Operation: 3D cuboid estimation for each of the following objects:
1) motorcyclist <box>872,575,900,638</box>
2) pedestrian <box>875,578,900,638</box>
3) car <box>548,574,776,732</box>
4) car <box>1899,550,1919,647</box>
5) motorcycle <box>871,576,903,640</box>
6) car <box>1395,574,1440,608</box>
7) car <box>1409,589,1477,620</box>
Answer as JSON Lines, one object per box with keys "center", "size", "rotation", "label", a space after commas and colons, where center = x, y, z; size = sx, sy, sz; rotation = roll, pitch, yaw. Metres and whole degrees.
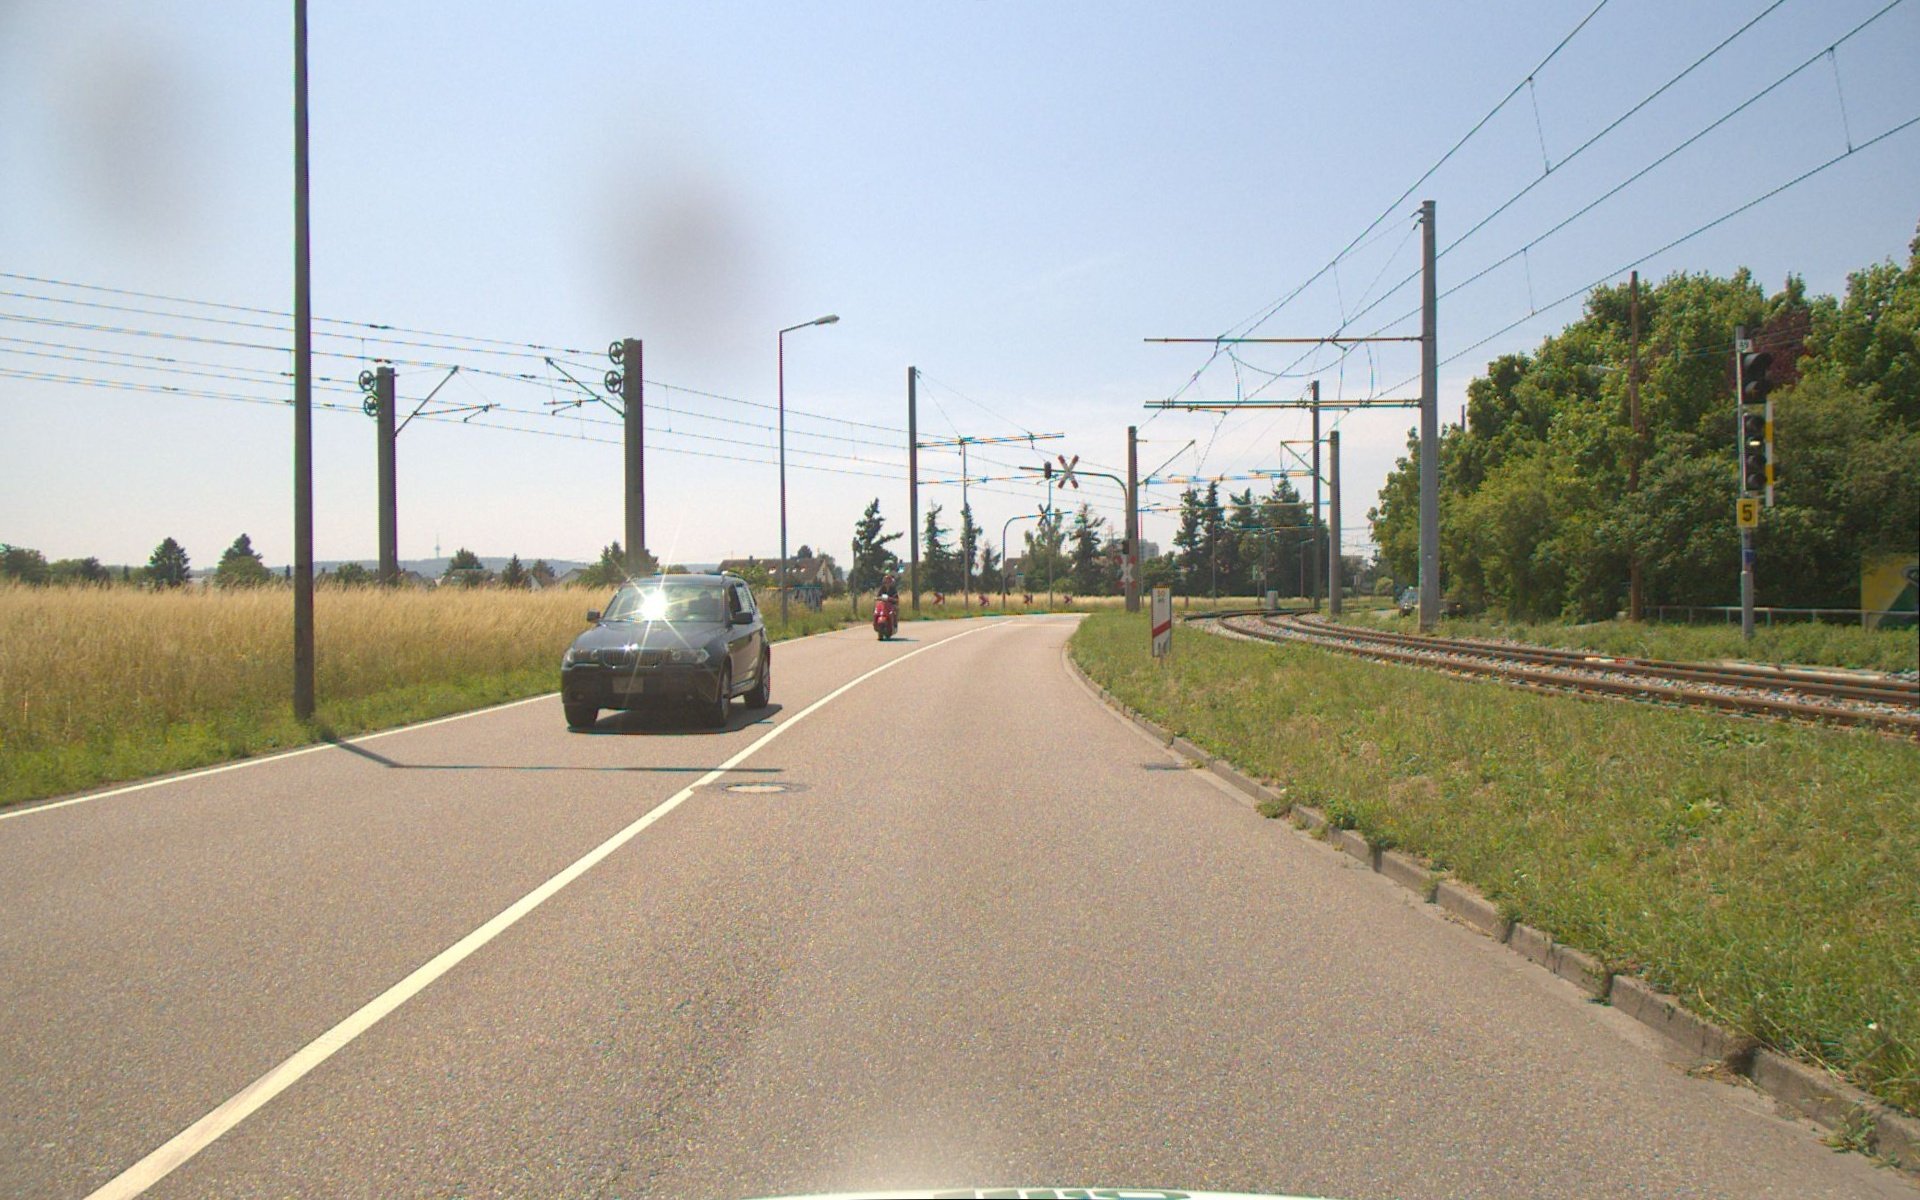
{"center": [-1.936, 0.169, 43.345], "size": [0.674, 1.613, 0.670], "rotation": [-1, 2, 0], "label": "motorcyclist"}
{"center": [-1.926, 0.208, 44.028], "size": [0.629, 1.563, 0.577], "rotation": [-1, 1, 0], "label": "pedestrian"}
{"center": [-3.361, 0.529, 19.530], "size": [1.789, 1.629, 4.485], "rotation": [-1, 1, 1], "label": "car"}
{"center": [17.431, -0.074, 26.706], "size": [1.790, 1.686, 4.815], "rotation": [-1, -1, 0], "label": "car"}
{"center": [-1.914, 0.192, 43.648], "size": [0.689, 1.614, 2.147], "rotation": [-1, 2, 0], "label": "motorcycle"}
{"center": [21.749, -0.408, 78.809], "size": [1.758, 1.451, 4.744], "rotation": [-1, -1, 12], "label": "car"}
{"center": [19.616, 0.192, 67.248], "size": [1.611, 1.191, 3.667], "rotation": [-1, -1, -1], "label": "car"}
